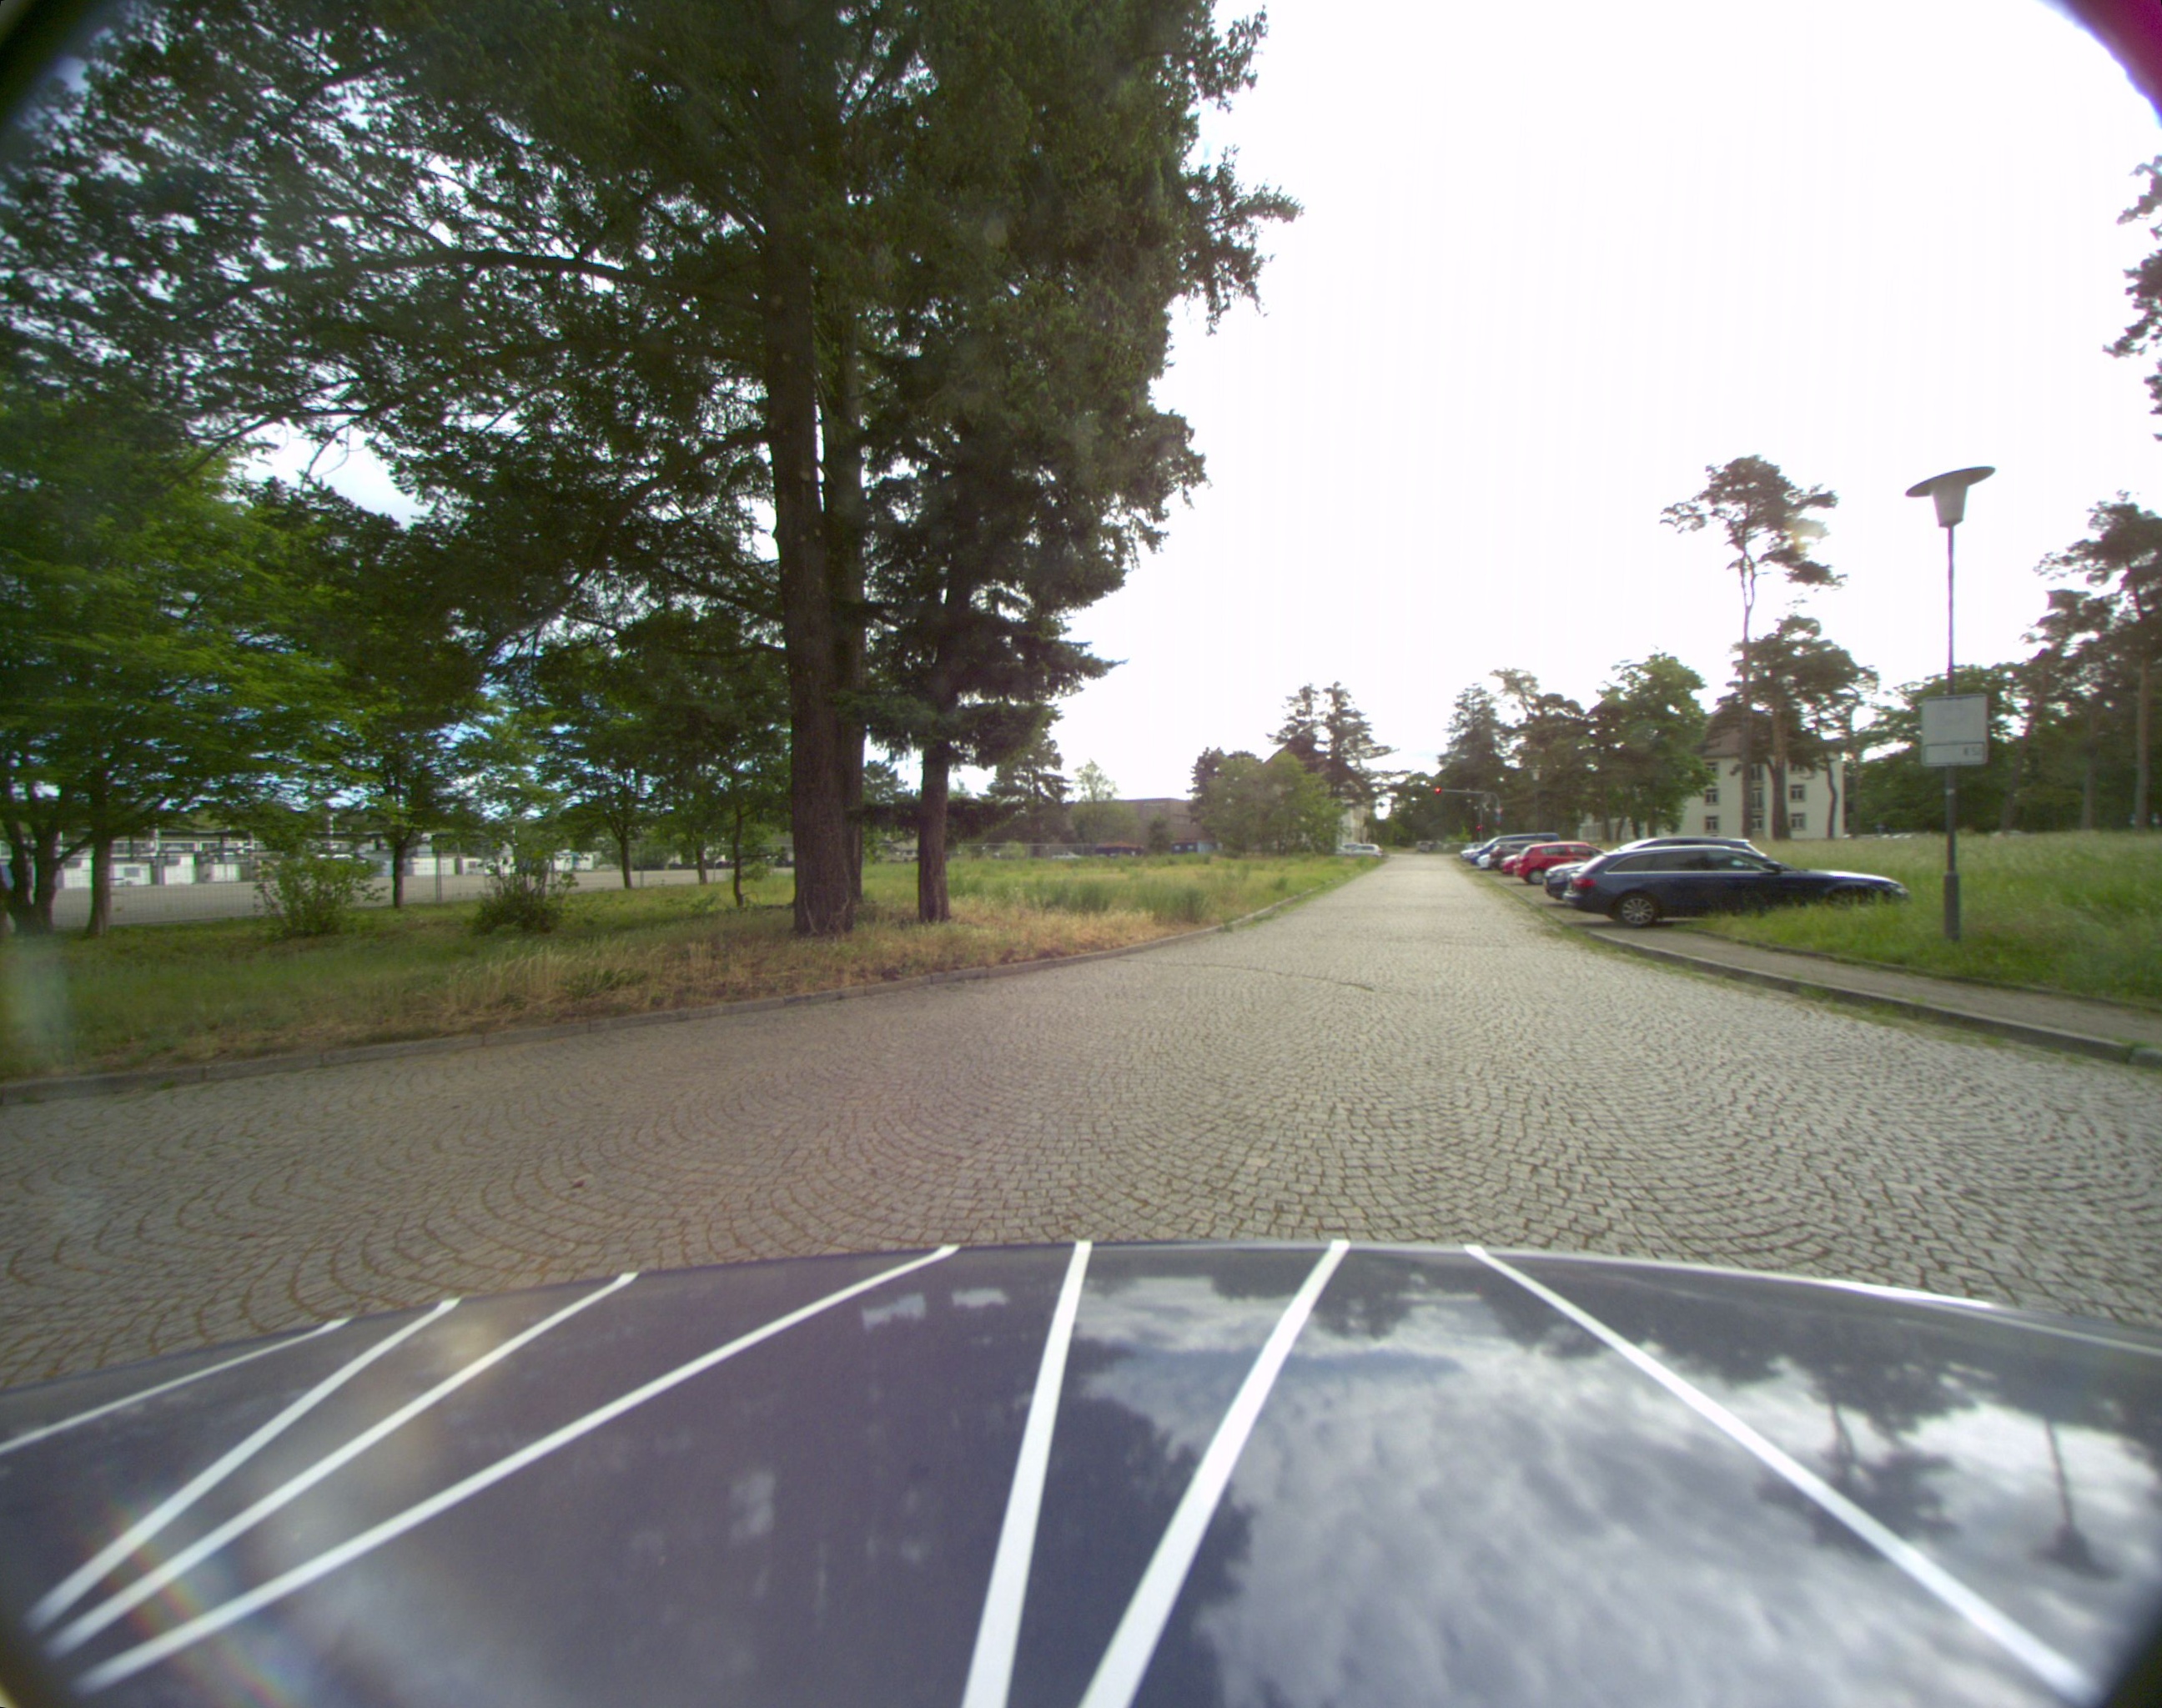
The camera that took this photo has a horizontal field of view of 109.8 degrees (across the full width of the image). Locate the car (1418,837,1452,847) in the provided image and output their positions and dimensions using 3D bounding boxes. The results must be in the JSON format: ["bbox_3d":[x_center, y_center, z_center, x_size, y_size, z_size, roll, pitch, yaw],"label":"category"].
[{"bbox_3d":[59.870,-2.056,128.681,4.976,1.612,1.904,-1,1,17],"label":"car"}]

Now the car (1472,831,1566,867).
[{"bbox_3d":[25.690,-0.289,44.721,4.535,1.891,1.796,-3,0,23],"label":"car"}]

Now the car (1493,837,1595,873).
[{"bbox_3d":[22.189,0.036,36.577,3.944,1.536,1.767,-3,0,23],"label":"car"}]

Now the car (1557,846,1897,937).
[{"bbox_3d":[11.212,0.649,13.649,4.344,1.397,1.767,-2,0,27],"label":"car"}]

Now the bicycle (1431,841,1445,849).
[{"bbox_3d":[53.025,-1.311,112.805,1.858,1.089,0.511,-1,1,17],"label":"bicycle"}]

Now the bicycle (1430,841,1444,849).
[{"bbox_3d":[52.711,-1.292,112.468,1.858,1.089,0.511,-1,1,17],"label":"bicycle"}]

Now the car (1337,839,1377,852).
[{"bbox_3d":[27.221,-0.818,74.942,3.587,1.204,1.586,-1,1,23],"label":"car"}]

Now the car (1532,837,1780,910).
[{"bbox_3d":[13.314,0.470,17.949,4.355,1.553,1.767,-2,1,23],"label":"car"}]

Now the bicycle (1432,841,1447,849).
[{"bbox_3d":[53.545,-1.338,113.478,1.858,1.089,0.511,-1,1,17],"label":"bicycle"}]

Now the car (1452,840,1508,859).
[{"bbox_3d":[32.399,-0.386,61.803,3.944,1.331,1.586,-3,0,23],"label":"car"}]

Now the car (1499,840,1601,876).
[{"bbox_3d":[20.979,0.183,34.149,3.655,1.413,1.580,-3,0,23],"label":"car"}]

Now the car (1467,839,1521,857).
[{"bbox_3d":[35.957,-0.544,66.201,3.944,1.331,1.586,-3,0,23],"label":"car"}]

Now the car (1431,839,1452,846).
[{"bbox_3d":[59.462,-1.933,125.355,3.112,1.046,1.341,-1,1,17],"label":"car"}]

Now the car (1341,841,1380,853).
[{"bbox_3d":[25.684,-0.637,69.814,3.262,1.081,1.451,-1,1,21],"label":"car"}]

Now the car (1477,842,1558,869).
[{"bbox_3d":[24.370,0.087,42.553,3.686,1.331,1.586,-3,0,23],"label":"car"}]

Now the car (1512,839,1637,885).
[{"bbox_3d":[17.586,0.279,27.259,3.491,1.473,1.605,-3,0,23],"label":"car"}]

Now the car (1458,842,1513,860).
[{"bbox_3d":[34.366,-0.290,64.663,3.944,1.331,1.586,-3,0,23],"label":"car"}]

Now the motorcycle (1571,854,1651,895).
[{"bbox_3d":[15.973,0.614,22.942,1.911,1.186,0.551,-1,1,19],"label":"motorcycle"}]
